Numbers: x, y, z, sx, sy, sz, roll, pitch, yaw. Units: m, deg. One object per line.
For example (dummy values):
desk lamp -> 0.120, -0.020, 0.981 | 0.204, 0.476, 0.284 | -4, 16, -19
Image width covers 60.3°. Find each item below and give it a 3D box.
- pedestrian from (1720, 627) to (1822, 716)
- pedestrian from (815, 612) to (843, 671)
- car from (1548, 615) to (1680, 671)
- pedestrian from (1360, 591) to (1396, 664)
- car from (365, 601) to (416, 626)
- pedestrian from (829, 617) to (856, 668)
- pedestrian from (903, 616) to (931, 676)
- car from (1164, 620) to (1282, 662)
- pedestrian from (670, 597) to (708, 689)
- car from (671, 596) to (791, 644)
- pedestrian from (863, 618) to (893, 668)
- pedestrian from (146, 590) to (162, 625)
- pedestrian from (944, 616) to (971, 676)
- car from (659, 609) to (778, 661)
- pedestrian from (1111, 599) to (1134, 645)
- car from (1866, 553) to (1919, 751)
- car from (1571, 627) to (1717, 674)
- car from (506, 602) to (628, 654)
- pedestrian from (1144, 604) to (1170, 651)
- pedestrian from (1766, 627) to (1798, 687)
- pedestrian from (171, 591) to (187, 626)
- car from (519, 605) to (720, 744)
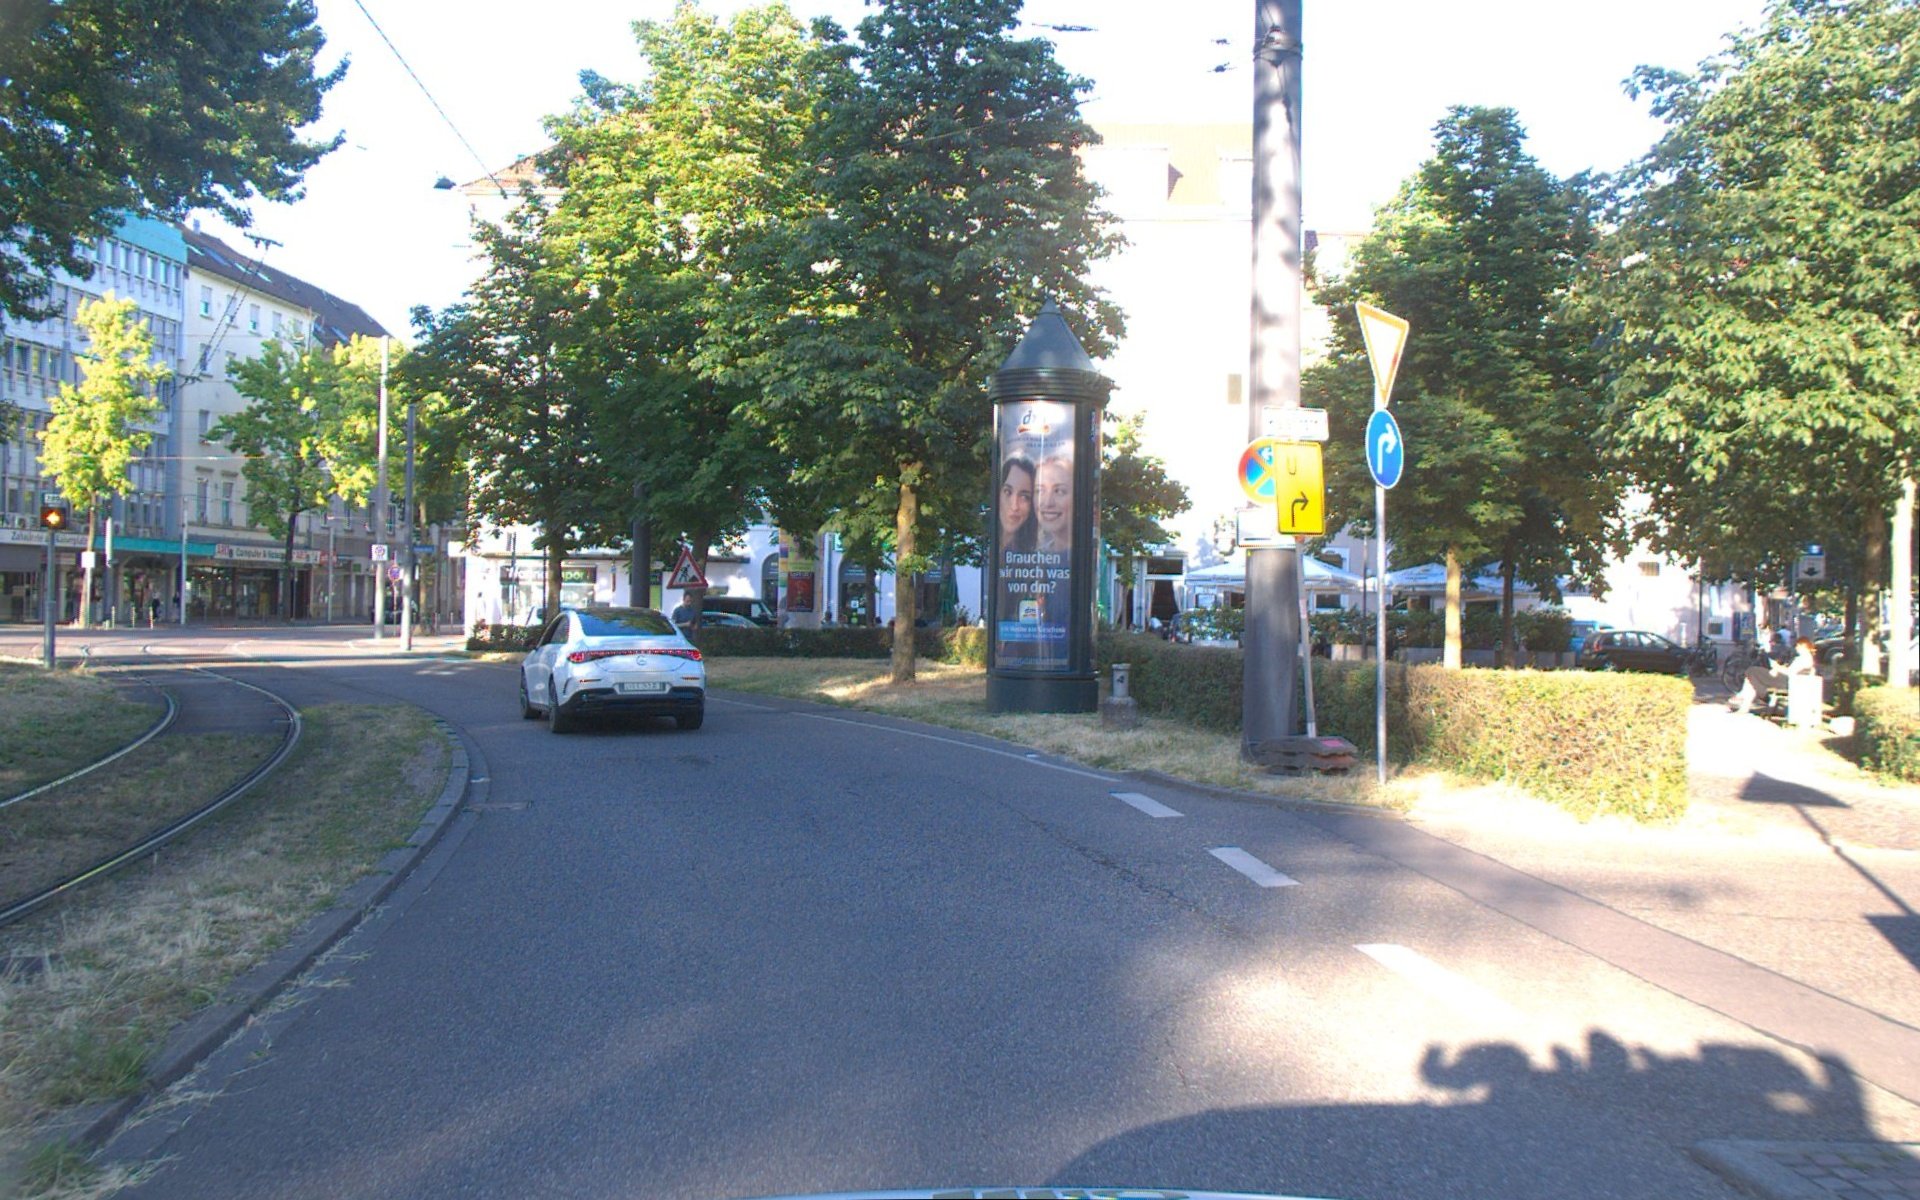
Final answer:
pedestrian -> 12.065, 1.057, 24.645 | 1.074, 1.248, 0.860 | 2, 0, 2
pedestrian -> -3.489, 1.101, 44.128 | 0.523, 1.524, 0.660 | 1, -1, 16
car -> 22.898, 1.475, 58.028 | 3.903, 1.813, 1.854 | 2, 0, 5
pedestrian -> 11.389, 0.749, 45.046 | 0.913, 1.957, 0.858 | 1, -1, 14
car -> -35.253, 0.838, 102.444 | 1.622, 1.502, 3.626 | 1, 0, 4
pedestrian -> -3.244, 1.168, 45.808 | 0.523, 1.403, 0.660 | 1, -1, 16
pedestrian -> -1.120, 1.200, 43.279 | 0.523, 1.524, 0.660 | 1, -1, 16
car -> 9.136, 1.404, 57.625 | 3.903, 1.324, 1.854 | 2, 0, 5
pedestrian -> -4.801, 0.749, 29.295 | 0.551, 1.594, 0.591 | 2, 0, -18
car -> -8.230, 0.709, 59.690 | 3.903, 1.579, 2.001 | 2, 0, 5
pedestrian -> -2.326, 1.215, 47.062 | 0.652, 1.376, 0.660 | 1, -1, 16
pedestrian -> -39.832, 0.367, 81.764 | 0.468, 1.730, 0.541 | 1, -1, 4
pedestrian -> -0.058, 1.215, 43.823 | 0.523, 1.576, 0.660 | 1, -1, 16
car -> -7.889, 1.131, 54.221 | 3.536, 1.579, 1.663 | 2, 0, 5
pedestrian -> 6.807, 0.921, 69.335 | 0.837, 1.899, 0.936 | 1, -1, 2
car -> 15.542, 0.771, 22.318 | 5.397, 2.640, 2.155 | 2, -1, 1
car -> 21.782, 1.600, 52.773 | 3.903, 1.324, 1.854 | 2, 0, 5
car -> -12.970, 0.924, 54.674 | 3.536, 1.579, 1.663 | 2, 0, 5
pedestrian -> 8.141, 1.147, 68.354 | 0.914, 1.899, 0.857 | 1, -1, -1
pedestrian -> 28.583, 1.974, 57.491 | 0.947, 2.049, 1.026 | 1, -1, 27
pedestrian -> -38.611, 0.417, 81.787 | 0.468, 1.730, 0.541 | 1, -1, 4
car -> -4.404, 0.850, 20.903 | 1.838, 1.466, 4.171 | -2, 1, -21
